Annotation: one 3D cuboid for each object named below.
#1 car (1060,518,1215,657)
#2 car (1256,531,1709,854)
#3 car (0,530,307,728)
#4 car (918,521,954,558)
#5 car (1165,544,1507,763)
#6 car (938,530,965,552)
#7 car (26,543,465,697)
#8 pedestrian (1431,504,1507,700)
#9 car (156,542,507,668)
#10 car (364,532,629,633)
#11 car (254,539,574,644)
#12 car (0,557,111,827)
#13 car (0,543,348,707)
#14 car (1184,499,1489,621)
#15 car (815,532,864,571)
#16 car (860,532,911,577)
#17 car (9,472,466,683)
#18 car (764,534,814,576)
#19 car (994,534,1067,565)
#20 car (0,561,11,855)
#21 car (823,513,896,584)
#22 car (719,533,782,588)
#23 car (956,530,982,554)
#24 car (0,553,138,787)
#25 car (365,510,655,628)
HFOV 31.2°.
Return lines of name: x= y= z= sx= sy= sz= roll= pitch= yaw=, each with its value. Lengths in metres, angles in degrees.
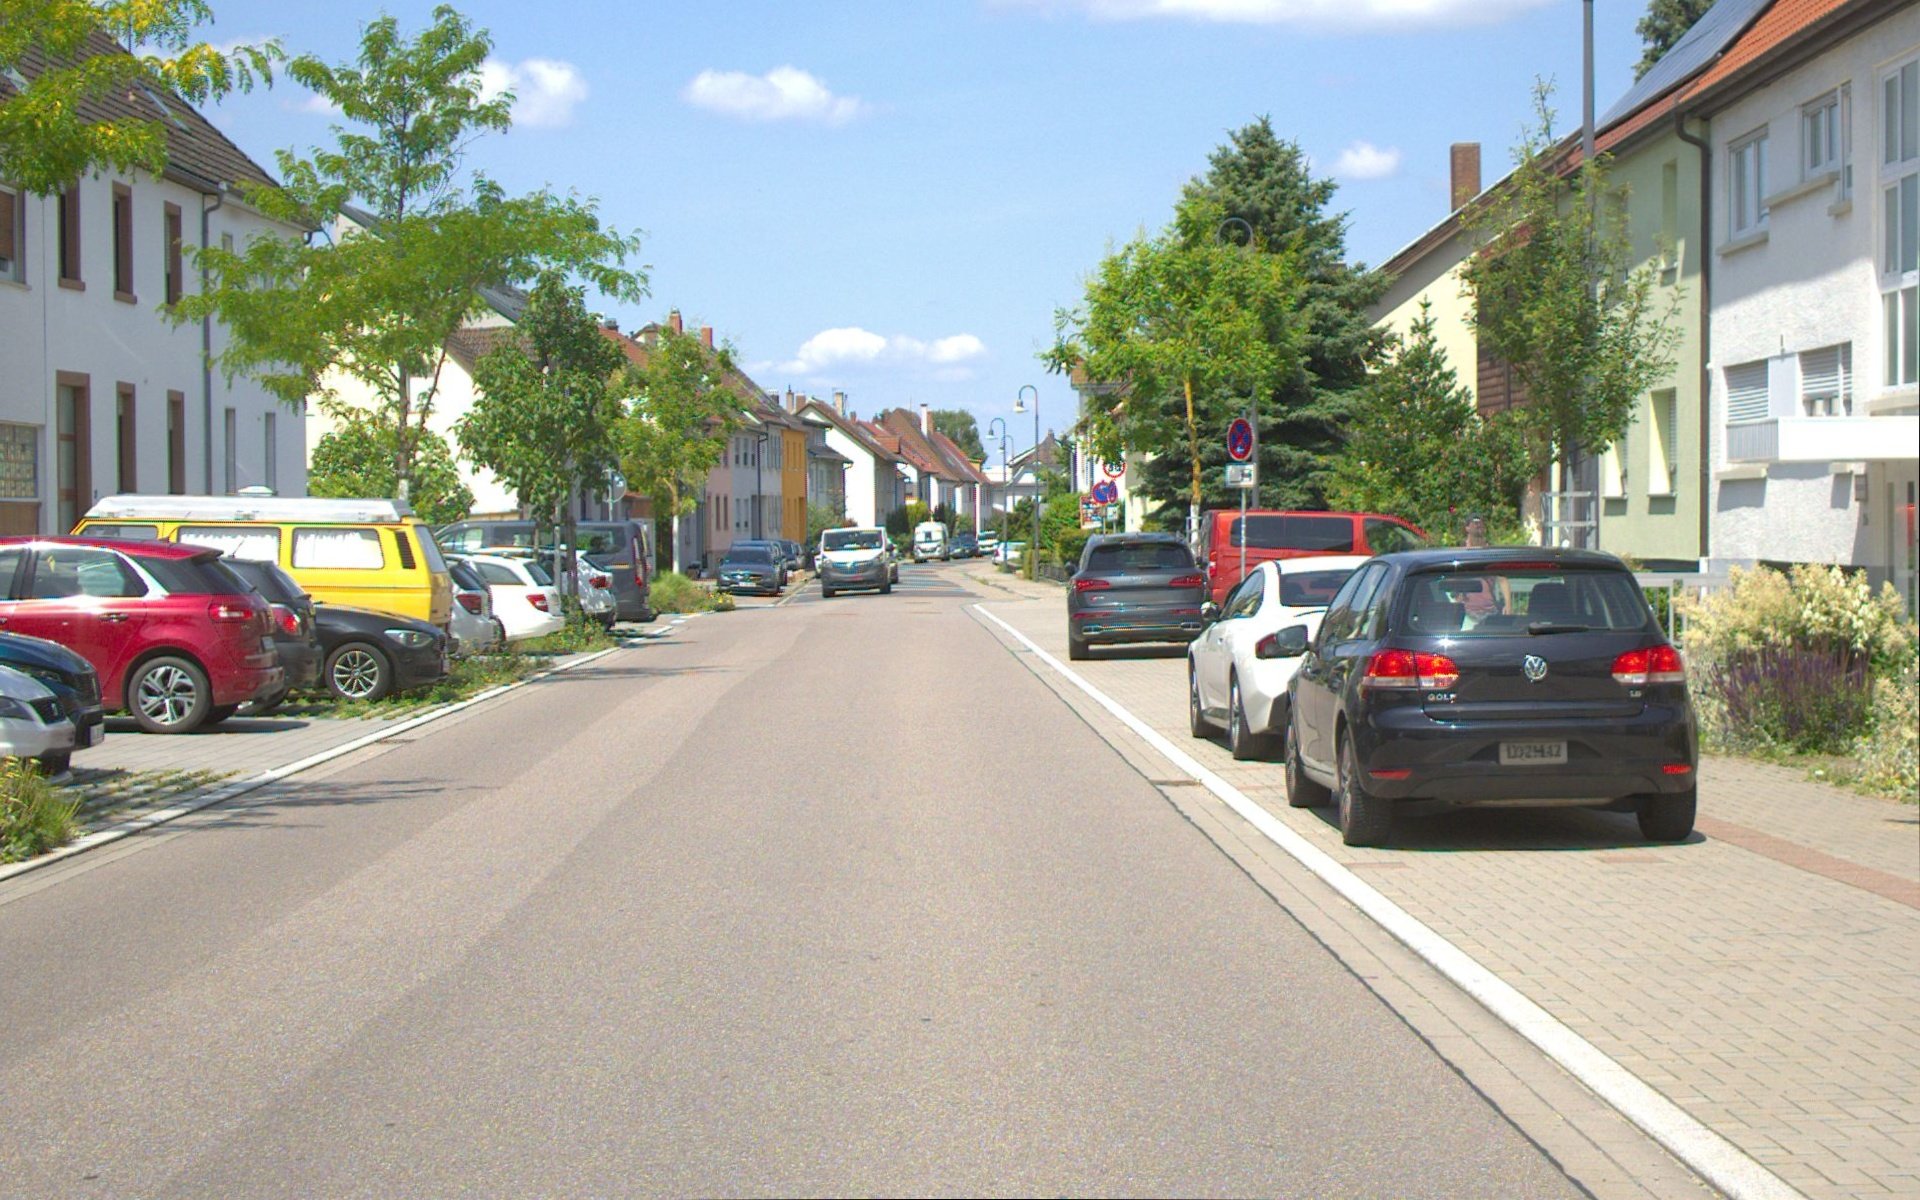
car: x=2.301 y=-0.210 z=45.527 sx=1.864 sy=1.630 sz=4.446 roll=-3 pitch=2 yaw=2
car: x=2.654 y=0.404 z=18.315 sx=1.767 sy=1.524 sz=4.007 roll=0 pitch=1 yaw=0
car: x=-7.794 y=0.215 z=28.978 sx=4.253 sy=1.606 sz=1.843 roll=0 pitch=1 yaw=-1
car: x=-1.561 y=-3.926 z=223.103 sx=2.045 sy=2.304 sz=3.771 roll=1 pitch=0 yaw=3
car: x=2.672 y=0.325 z=25.431 sx=1.832 sy=1.460 sz=4.520 roll=0 pitch=1 yaw=-3
car: x=-0.593 y=-4.204 z=244.961 sx=1.691 sy=1.498 sz=3.771 roll=1 pitch=0 yaw=3
car: x=-7.051 y=0.180 z=34.216 sx=4.009 sy=1.454 sz=1.755 roll=0 pitch=1 yaw=-1
pedestrian: x=4.589 y=0.017 z=31.020 sx=0.557 sy=1.743 sz=0.673 roll=-1 pitch=0 yaw=0
car: x=-7.534 y=0.055 z=41.422 sx=4.071 sy=1.463 sz=1.754 roll=0 pitch=1 yaw=-9
car: x=-7.557 y=-0.293 z=56.315 sx=4.182 sy=1.563 sz=1.774 roll=1 pitch=0 yaw=-4
car: x=-7.810 y=-0.130 z=49.434 sx=4.295 sy=1.463 sz=1.774 roll=0 pitch=0 yaw=1
car: x=-7.090 y=0.486 z=19.707 sx=4.053 sy=1.473 sz=1.776 roll=0 pitch=1 yaw=-3
car: x=-7.673 y=0.211 z=31.752 sx=3.791 sy=1.454 sz=1.755 roll=0 pitch=1 yaw=-3
car: x=6.019 y=-0.635 z=55.334 sx=4.618 sy=1.887 sz=2.021 roll=1 pitch=0 yaw=-2
car: x=-5.362 y=-2.157 z=153.050 sx=1.850 sy=1.653 sz=4.000 roll=2 pitch=1 yaw=2
car: x=-2.684 y=-1.635 z=123.220 sx=1.762 sy=1.517 sz=4.049 roll=-2 pitch=1 yaw=-2
car: x=-7.696 y=-0.254 z=36.913 sx=4.508 sy=2.170 sz=1.925 roll=0 pitch=1 yaw=-1
car: x=-6.916 y=-1.833 z=139.671 sx=1.810 sy=1.603 sz=4.000 roll=1 pitch=1 yaw=0
car: x=3.448 y=-2.468 z=168.916 sx=3.523 sy=1.459 sz=1.628 roll=1 pitch=0 yaw=0
car: x=-6.889 y=0.519 z=15.877 sx=4.524 sy=1.420 sz=1.796 roll=0 pitch=1 yaw=-1
car: x=-2.879 y=-1.449 z=98.420 sx=2.022 sy=1.943 sz=4.899 roll=-1 pitch=0 yaw=-2
car: x=-6.338 y=-1.208 z=104.134 sx=1.816 sy=1.428 sz=4.140 roll=3 pitch=2 yaw=-3
car: x=0.642 y=-4.247 z=252.438 sx=1.691 sy=1.654 sz=3.771 roll=1 pitch=0 yaw=3
car: x=-7.783 y=0.424 z=22.578 sx=4.403 sy=1.473 sz=1.776 roll=0 pitch=1 yaw=-4
car: x=-7.679 y=-0.526 z=58.975 sx=4.700 sy=1.916 sz=1.938 roll=1 pitch=0 yaw=-1
